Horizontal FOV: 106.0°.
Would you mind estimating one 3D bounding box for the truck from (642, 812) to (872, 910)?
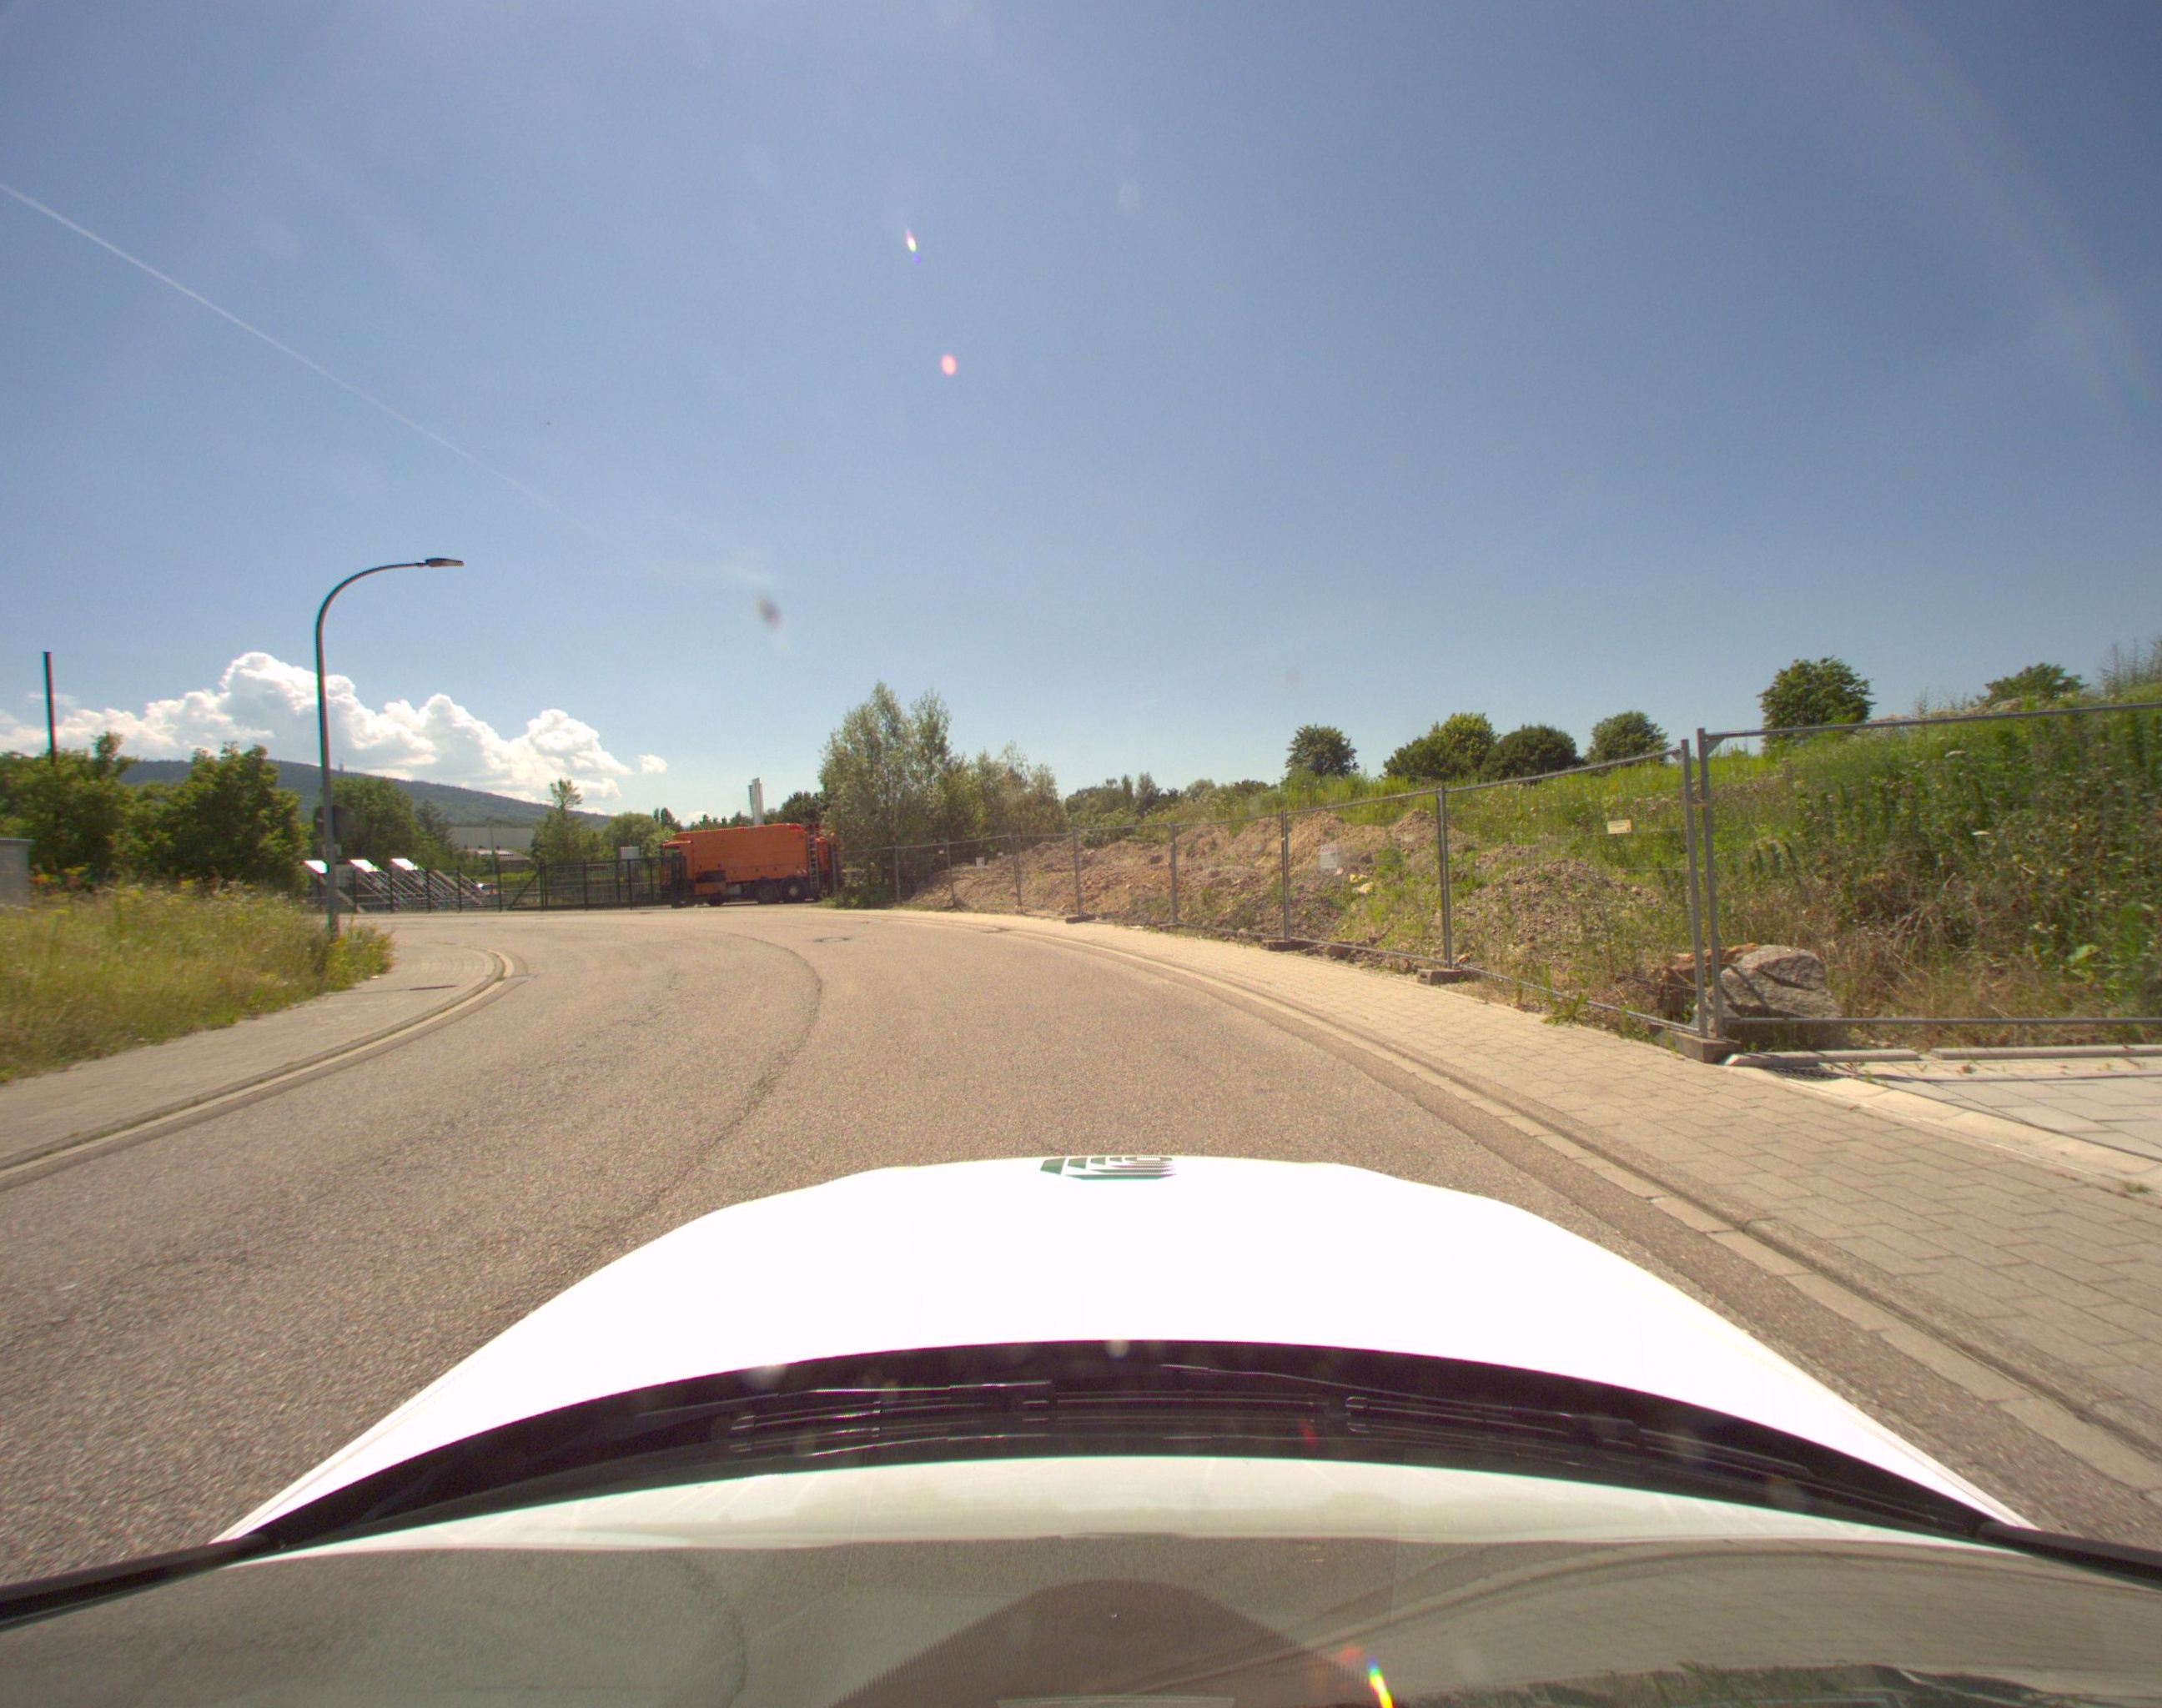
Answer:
[{"bbox_3d":[-14.566,0.308,37.072,8.530,3.806,4.177,-3,0,10],"label":"truck"}]

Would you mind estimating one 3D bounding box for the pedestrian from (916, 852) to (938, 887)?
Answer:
[{"bbox_3d":[-8.208,0.817,43.452,0.870,1.824,0.742,-2,0,12],"label":"pedestrian"}]

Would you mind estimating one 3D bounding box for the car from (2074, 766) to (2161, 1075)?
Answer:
[{"bbox_3d":[6.870,0.159,2.810,3.982,1.462,1.899,-5,0,13],"label":"car"}]
